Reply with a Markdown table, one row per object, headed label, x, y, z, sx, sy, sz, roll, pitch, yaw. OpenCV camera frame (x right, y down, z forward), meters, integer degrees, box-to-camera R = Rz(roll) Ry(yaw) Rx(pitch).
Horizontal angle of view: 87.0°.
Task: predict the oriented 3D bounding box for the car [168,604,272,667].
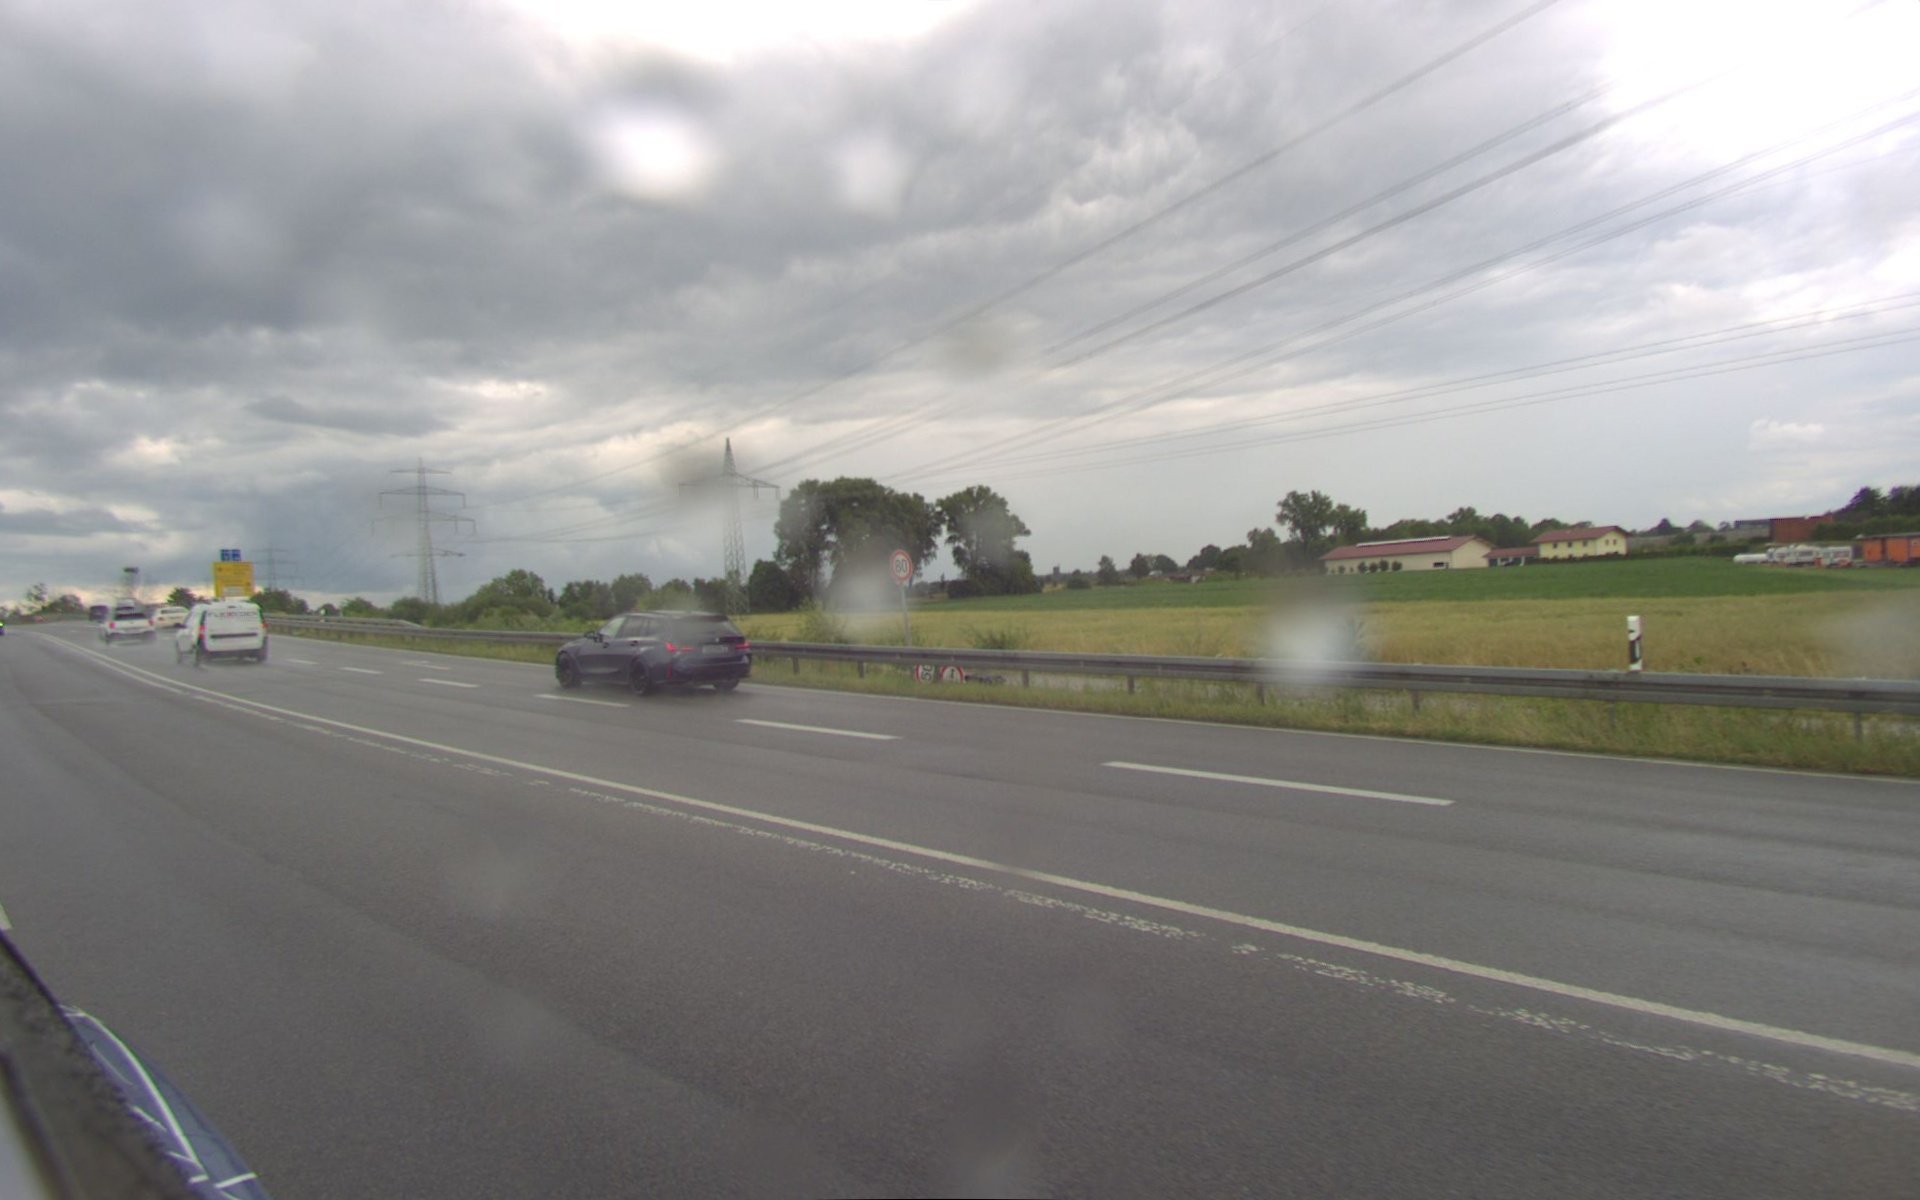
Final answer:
| label | x | y | z | sx | sy | sz | roll | pitch | yaw |
| --- | --- | --- | --- | --- | --- | --- | --- | --- | --- |
| car | -21.630 | 0.991 | 29.520 | 4.372 | 1.678 | 1.770 | -1 | 0 | 44 |

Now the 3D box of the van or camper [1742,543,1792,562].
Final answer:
| label | x | y | z | sx | sy | sz | roll | pitch | yaw |
| --- | --- | --- | --- | --- | --- | --- | --- | --- | --- |
| van or camper | 126.011 | -7.430 | 158.147 | 5.693 | 2.651 | 2.306 | -2 | 2 | 30 |

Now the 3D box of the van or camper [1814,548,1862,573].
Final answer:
| label | x | y | z | sx | sy | sz | roll | pitch | yaw |
| --- | --- | --- | --- | --- | --- | --- | --- | --- | --- |
| van or camper | 102.412 | -4.616 | 118.090 | 2.312 | 2.651 | 5.679 | -2 | 2 | 21 |

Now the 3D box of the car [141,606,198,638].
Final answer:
| label | x | y | z | sx | sy | sz | roll | pitch | yaw |
| --- | --- | --- | --- | --- | --- | --- | --- | --- | --- |
| car | -46.459 | 1.239 | 59.466 | 4.647 | 1.672 | 1.922 | 0 | 3 | 44 |

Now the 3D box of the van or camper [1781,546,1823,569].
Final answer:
| label | x | y | z | sx | sy | sz | roll | pitch | yaw |
| --- | --- | --- | --- | --- | --- | --- | --- | --- | --- |
| van or camper | 109.119 | -5.546 | 131.230 | 2.312 | 2.651 | 5.679 | -2 | 2 | 21 |

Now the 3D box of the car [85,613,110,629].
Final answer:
| label | x | y | z | sx | sy | sz | roll | pitch | yaw |
| --- | --- | --- | --- | --- | --- | --- | --- | --- | --- |
| car | -90.688 | 2.237 | 106.461 | 1.685 | 1.622 | 4.647 | 0 | -1 | -37 |

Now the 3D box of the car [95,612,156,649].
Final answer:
| label | x | y | z | sx | sy | sz | roll | pitch | yaw |
| --- | --- | --- | --- | --- | --- | --- | --- | --- | --- |
| car | -37.656 | 1.358 | 45.638 | 1.746 | 1.511 | 4.212 | -2 | 1 | -45 |

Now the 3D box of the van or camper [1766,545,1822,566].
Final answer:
| label | x | y | z | sx | sy | sz | roll | pitch | yaw |
| --- | --- | --- | --- | --- | --- | --- | --- | --- | --- |
| van or camper | 116.973 | -6.253 | 142.020 | 5.693 | 2.651 | 2.306 | -2 | 2 | 30 |

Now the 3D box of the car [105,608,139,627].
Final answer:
| label | x | y | z | sx | sy | sz | roll | pitch | yaw |
| --- | --- | --- | --- | --- | --- | --- | --- | --- | --- |
| car | -64.393 | 1.331 | 77.743 | 1.749 | 1.437 | 4.740 | -2 | 0 | -42 |

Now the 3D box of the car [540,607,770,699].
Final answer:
| label | x | y | z | sx | sy | sz | roll | pitch | yaw |
| --- | --- | --- | --- | --- | --- | --- | --- | --- | --- |
| car | -5.662 | 0.875 | 18.388 | 4.902 | 1.452 | 1.874 | -1 | -1 | 44 |

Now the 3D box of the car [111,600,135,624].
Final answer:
| label | x | y | z | sx | sy | sz | roll | pitch | yaw |
| --- | --- | --- | --- | --- | --- | --- | --- | --- | --- |
| car | -102.403 | 1.438 | 123.820 | 1.945 | 2.674 | 5.471 | -5 | 3 | -38 |
